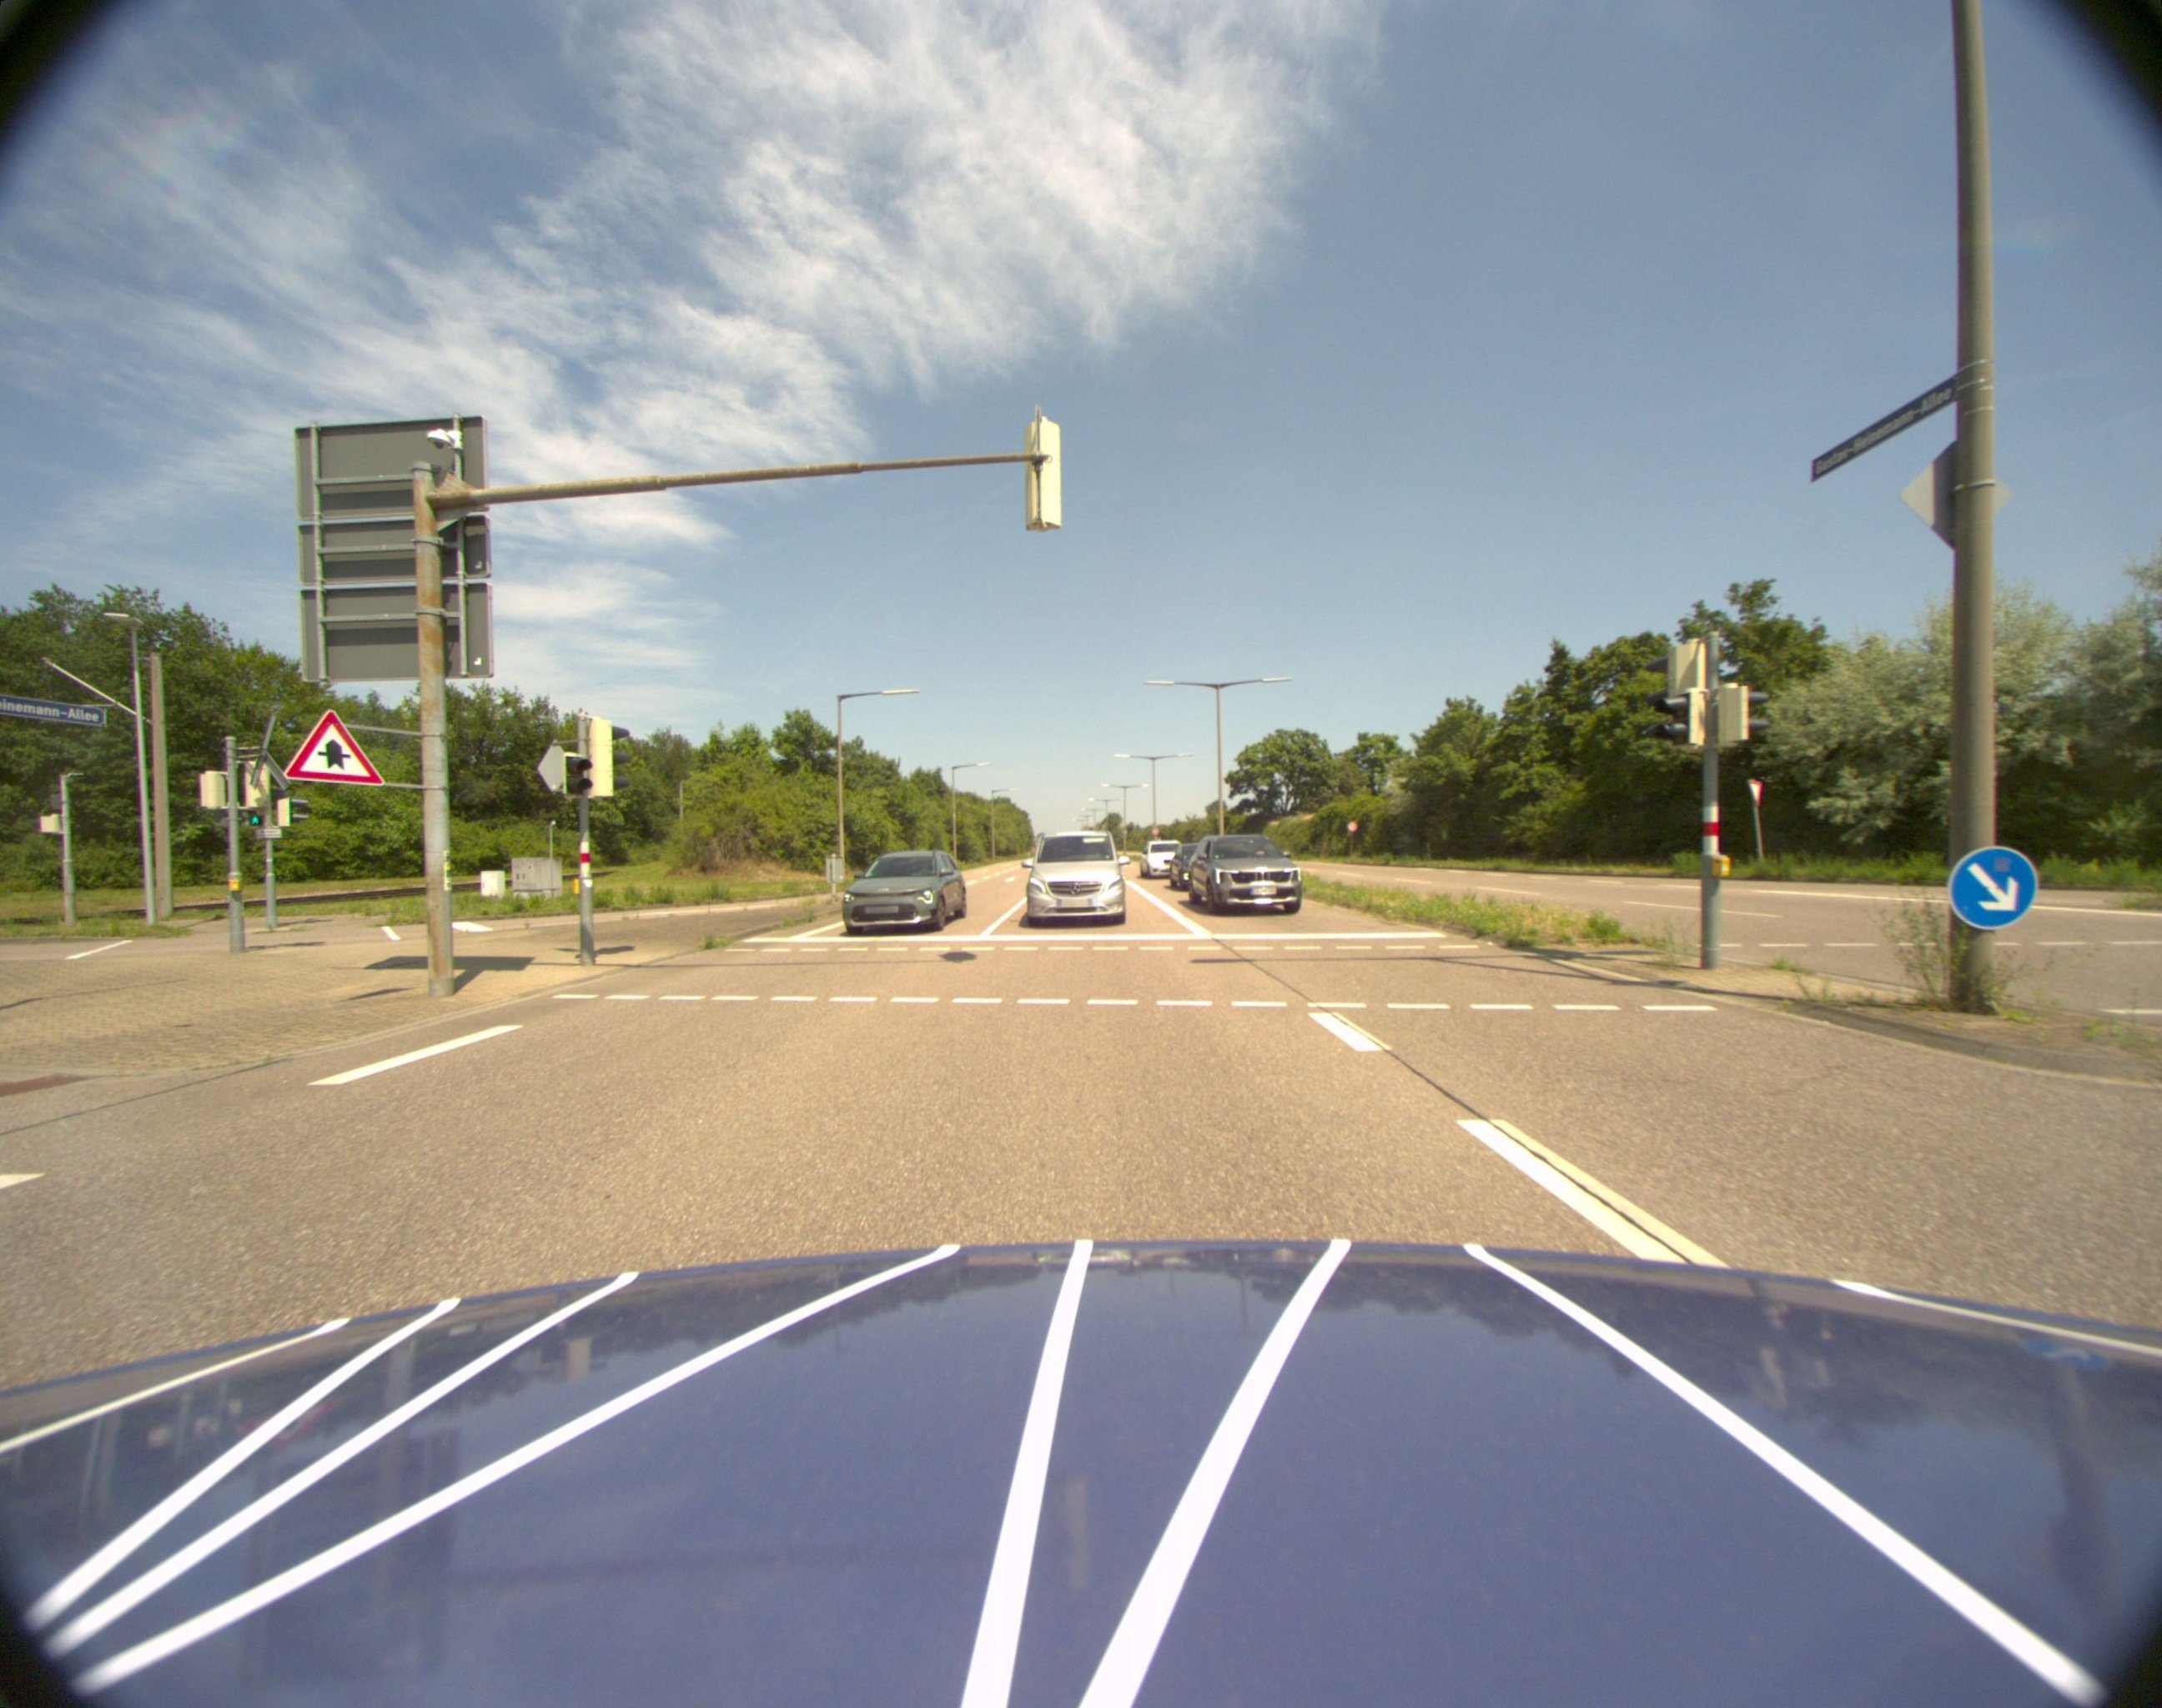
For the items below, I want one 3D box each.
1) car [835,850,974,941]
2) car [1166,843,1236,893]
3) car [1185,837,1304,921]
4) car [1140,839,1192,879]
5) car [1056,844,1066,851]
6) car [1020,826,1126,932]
[{"bbox_3d":[-3.449,0.733,15.641,1.722,1.587,4.000,-1,1,3],"label":"car"},{"bbox_3d":[3.980,0.408,25.833,1.753,1.491,3.999,-2,1,1],"label":"car"},{"bbox_3d":[3.592,0.465,17.532,1.785,1.658,4.530,-1,1,0],"label":"car"},{"bbox_3d":[3.819,0.189,34.780,1.921,1.662,4.001,-1,2,0],"label":"car"},{"bbox_3d":[-4.716,-1.567,177.158,1.998,1.652,4.000,-1,1,3],"label":"car"},{"bbox_3d":[-0.053,0.411,16.519,1.876,1.866,5.732,-1,1,2],"label":"car"}]
